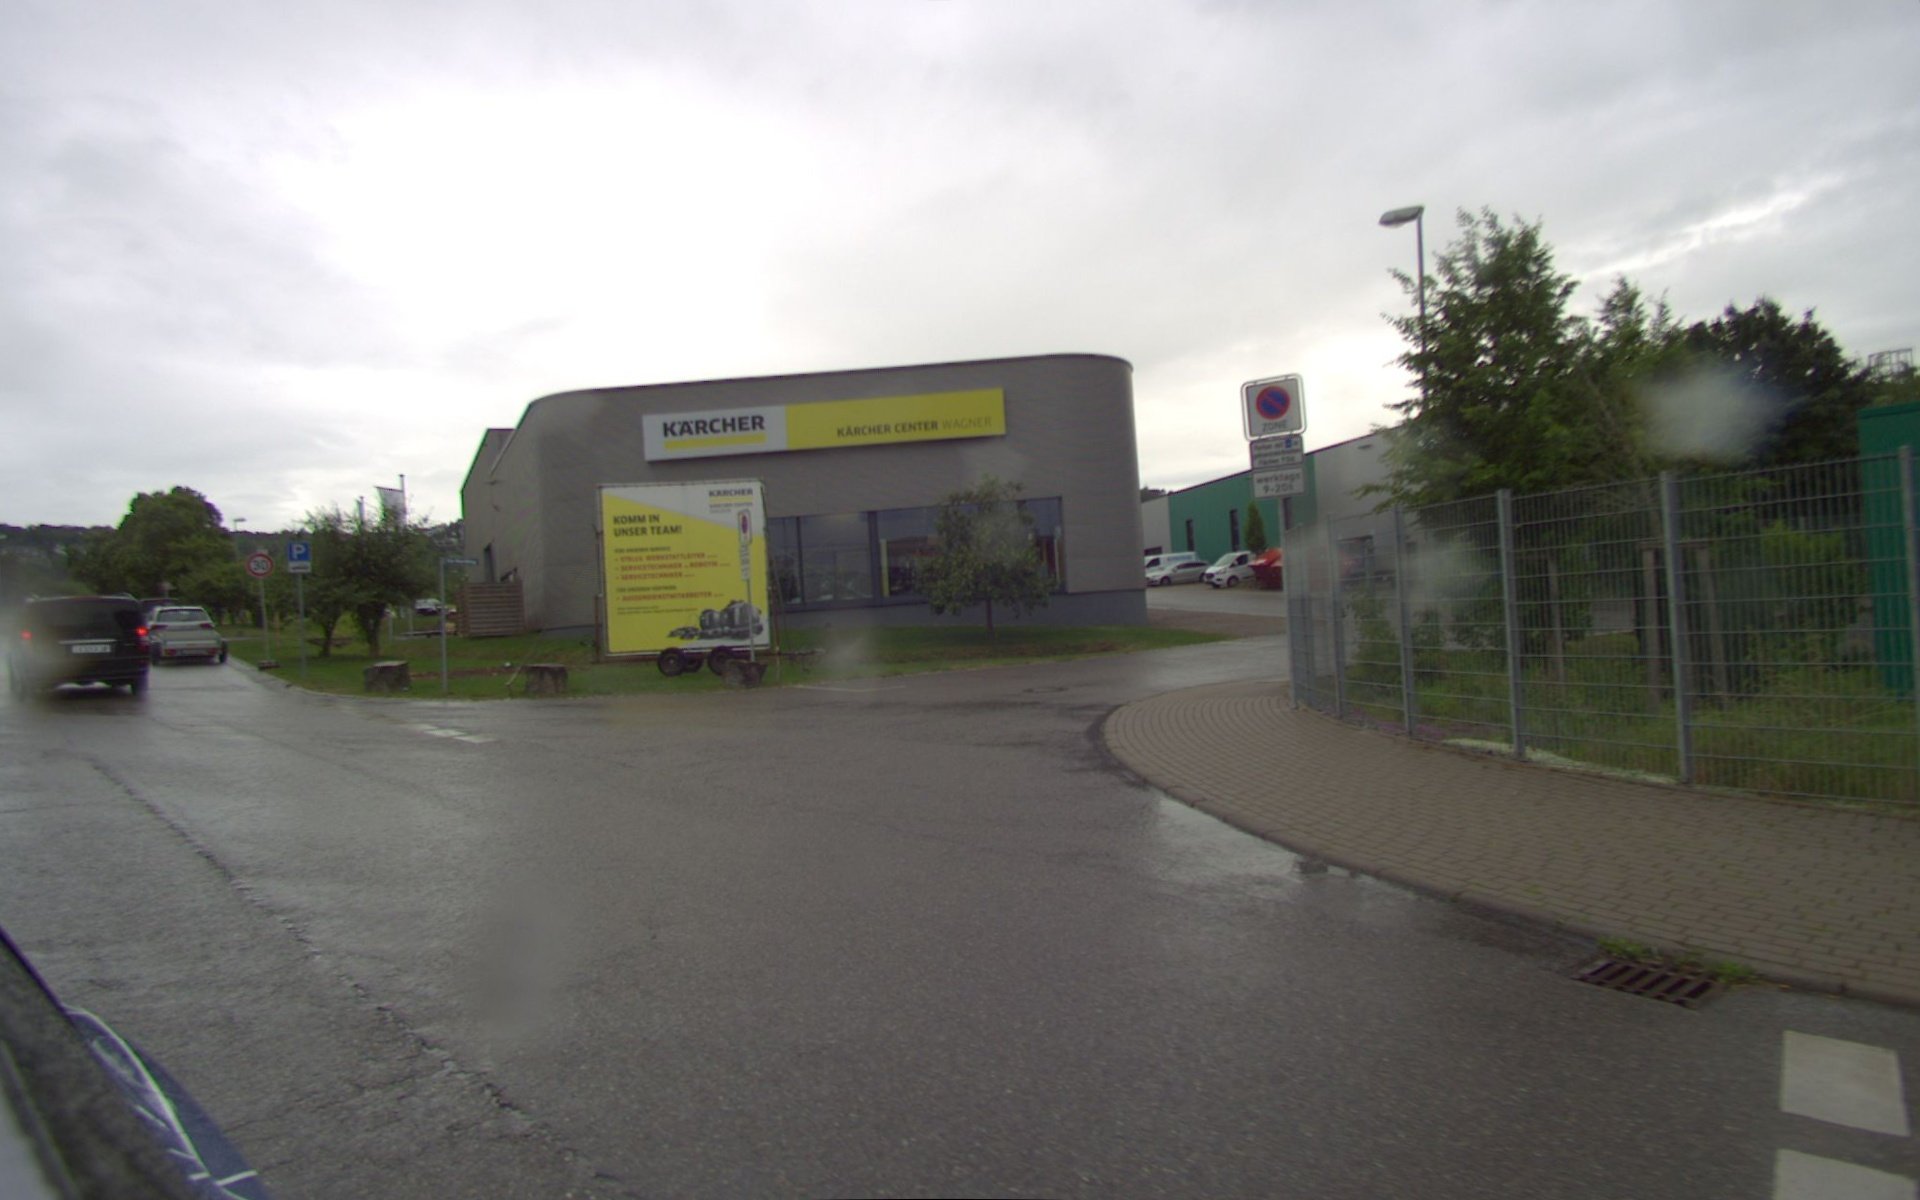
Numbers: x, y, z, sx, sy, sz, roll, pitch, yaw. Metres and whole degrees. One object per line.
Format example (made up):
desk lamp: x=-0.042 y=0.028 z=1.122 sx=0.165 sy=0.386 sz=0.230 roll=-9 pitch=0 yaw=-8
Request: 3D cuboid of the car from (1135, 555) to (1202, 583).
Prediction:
car: x=14.212 y=-2.105 z=68.996 sx=3.932 sy=1.763 sz=2.006 roll=-1 pitch=0 yaw=-15

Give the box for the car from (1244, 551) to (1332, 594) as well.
car: x=17.497 y=-1.447 z=54.092 sx=3.933 sy=2.199 sz=2.006 roll=-1 pitch=0 yaw=-15

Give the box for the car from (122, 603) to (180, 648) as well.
car: x=-39.318 y=1.236 z=49.249 sx=1.967 sy=2.029 sz=4.009 roll=-1 pitch=-1 yaw=-36

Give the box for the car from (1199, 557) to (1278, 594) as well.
car: x=16.104 y=-1.388 z=58.567 sx=3.932 sy=2.029 sz=2.006 roll=-1 pitch=0 yaw=-17

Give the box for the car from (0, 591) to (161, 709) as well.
car: x=-17.315 y=0.904 z=19.797 sx=4.512 sy=2.029 sz=2.039 roll=-2 pitch=0 yaw=44

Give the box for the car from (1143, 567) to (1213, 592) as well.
car: x=14.261 y=-1.343 z=66.321 sx=3.932 sy=1.541 sz=2.006 roll=-1 pitch=0 yaw=-15

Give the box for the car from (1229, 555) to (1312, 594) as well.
car: x=17.339 y=-1.438 z=56.632 sx=3.932 sy=2.071 sz=2.006 roll=-1 pitch=0 yaw=-17

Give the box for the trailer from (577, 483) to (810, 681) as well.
trailer: x=-5.842 y=-0.390 z=22.750 sx=4.630 sy=4.120 sz=2.391 roll=-1 pitch=0 yaw=-3

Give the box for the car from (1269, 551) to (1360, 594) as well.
car: x=18.201 y=-1.397 z=52.014 sx=3.933 sy=2.095 sz=2.005 roll=-1 pitch=0 yaw=-14

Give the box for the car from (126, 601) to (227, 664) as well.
car: x=-25.693 y=1.052 z=33.147 sx=4.000 sy=1.928 sz=1.972 roll=-2 pitch=-1 yaw=43
